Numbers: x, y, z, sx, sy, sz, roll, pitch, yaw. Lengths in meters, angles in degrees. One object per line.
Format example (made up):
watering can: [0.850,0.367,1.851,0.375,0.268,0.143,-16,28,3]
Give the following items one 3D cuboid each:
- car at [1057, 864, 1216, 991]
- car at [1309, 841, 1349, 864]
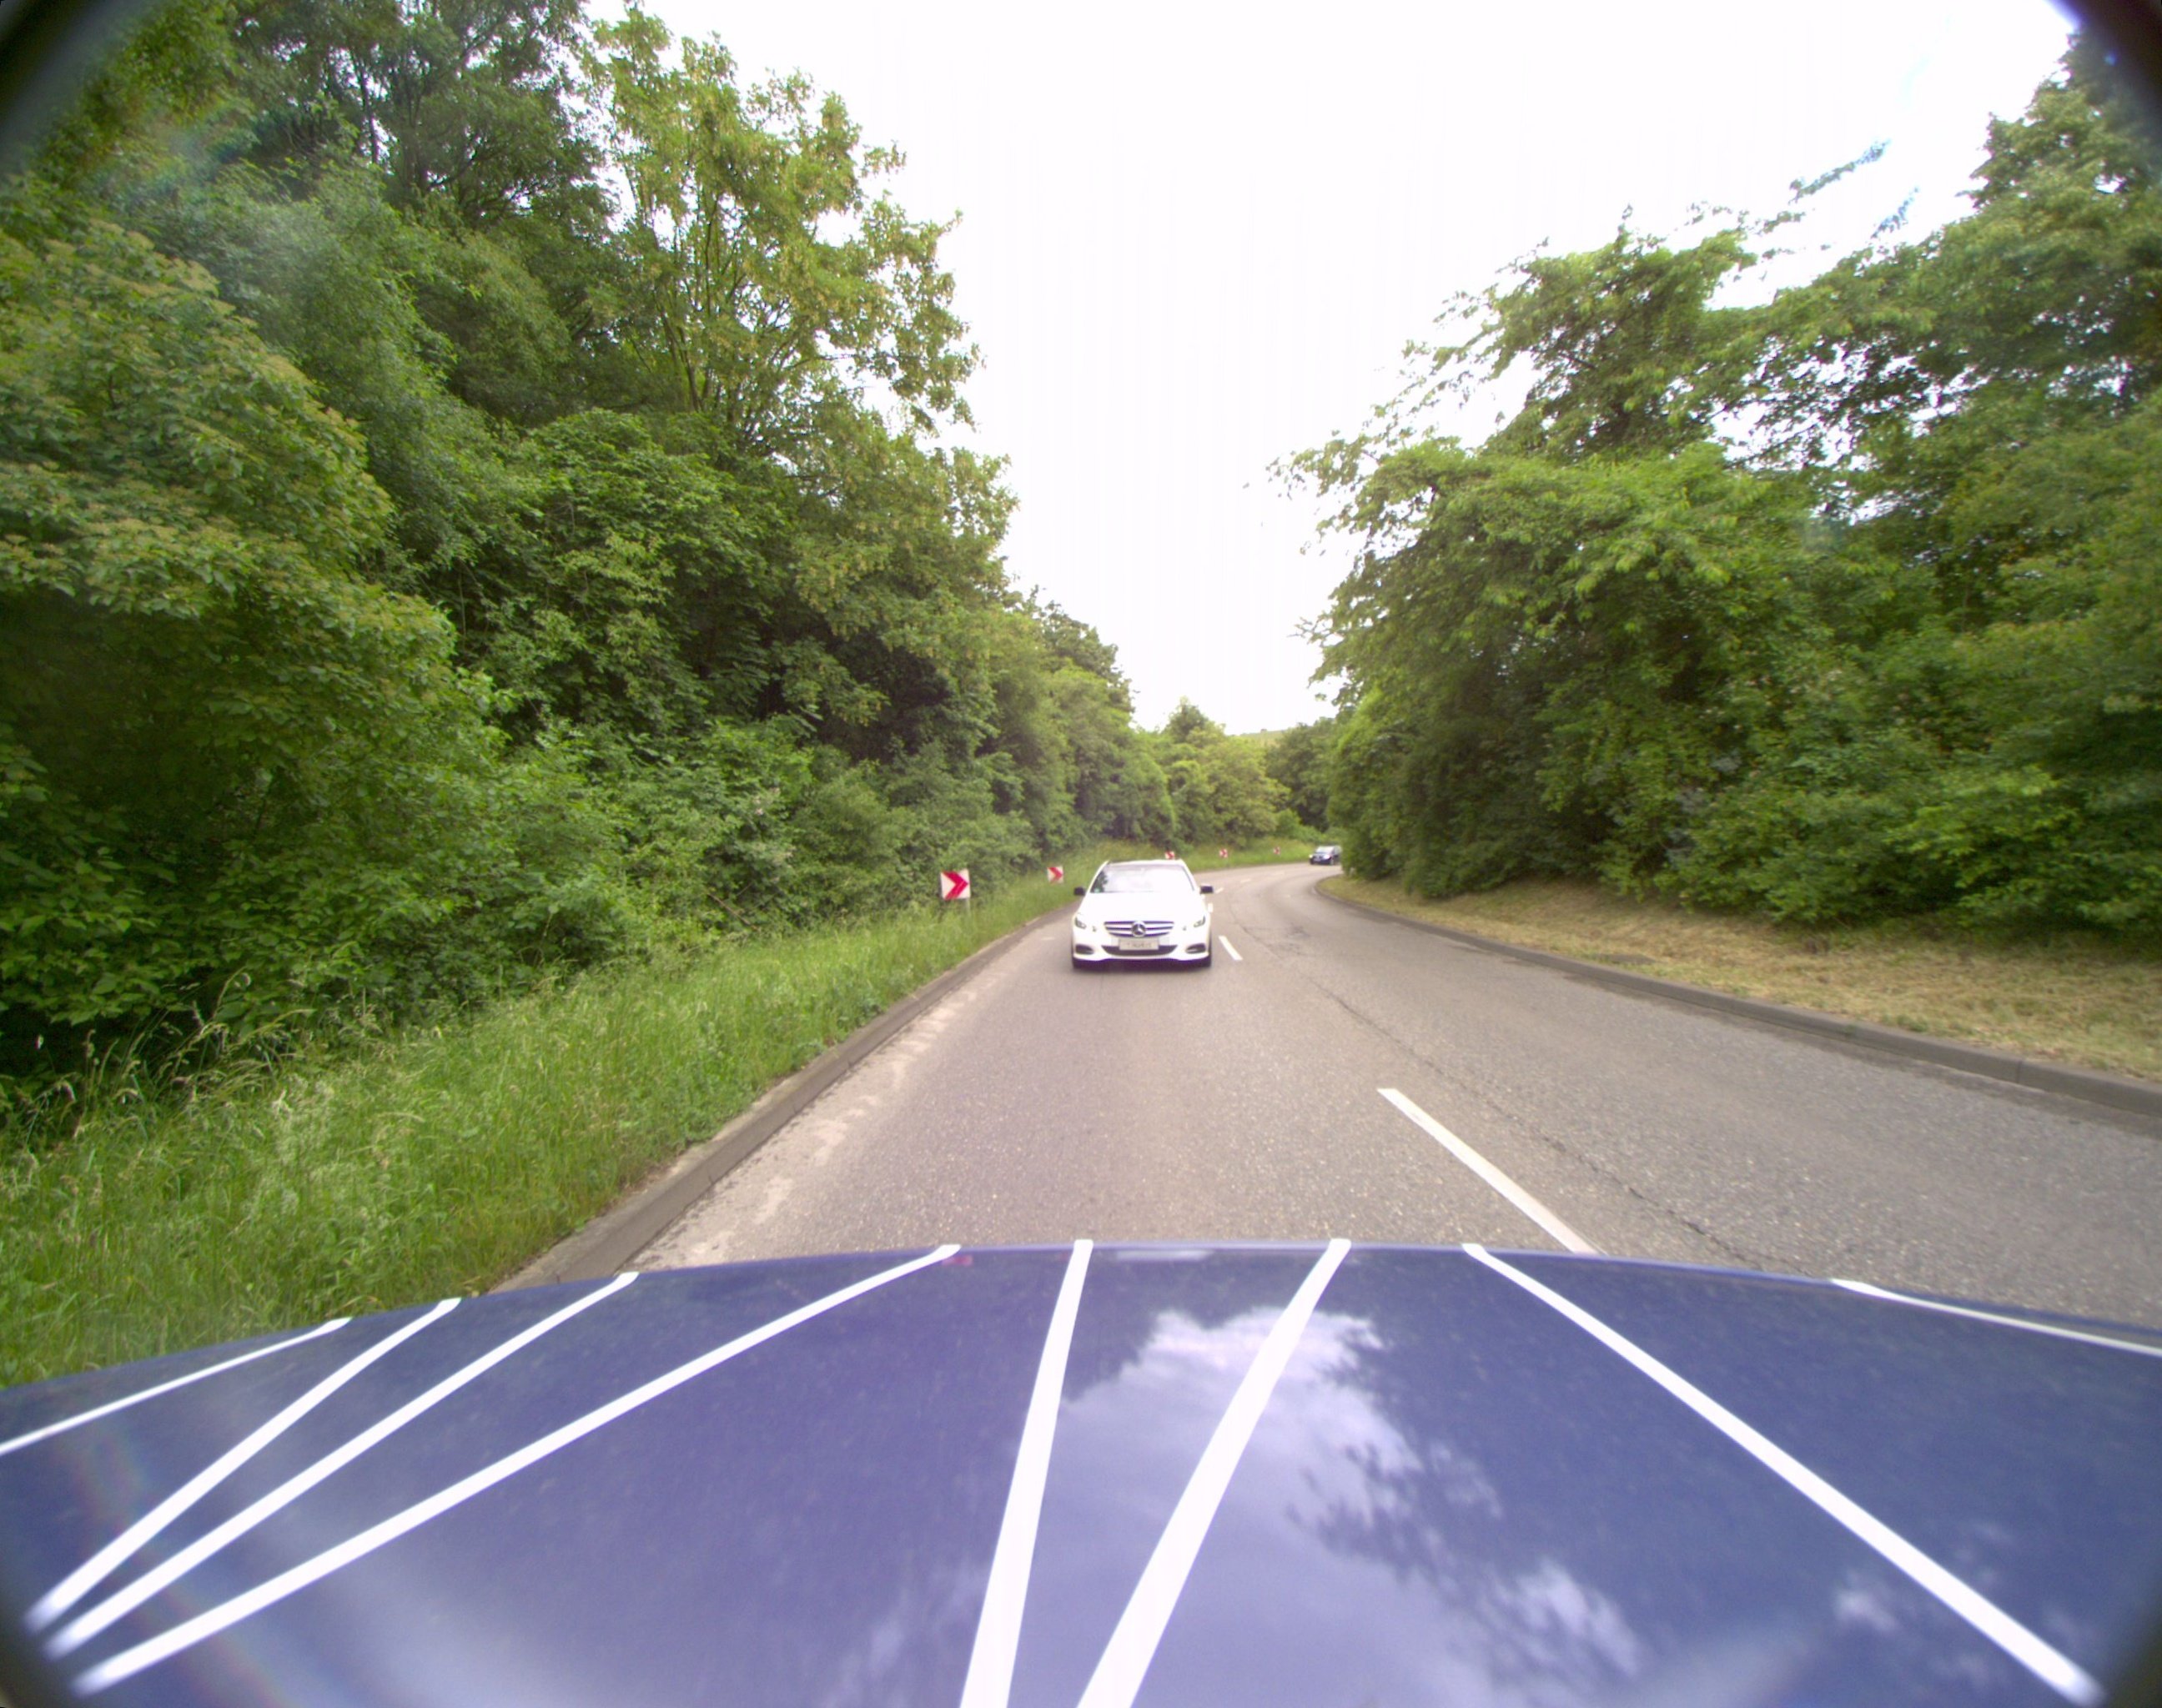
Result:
car: [0.891,0.916,11.254,1.865,1.423,4.358,-2,0,6]
car: [19.812,-0.151,60.630,1.549,1.636,3.747,6,5,41]
